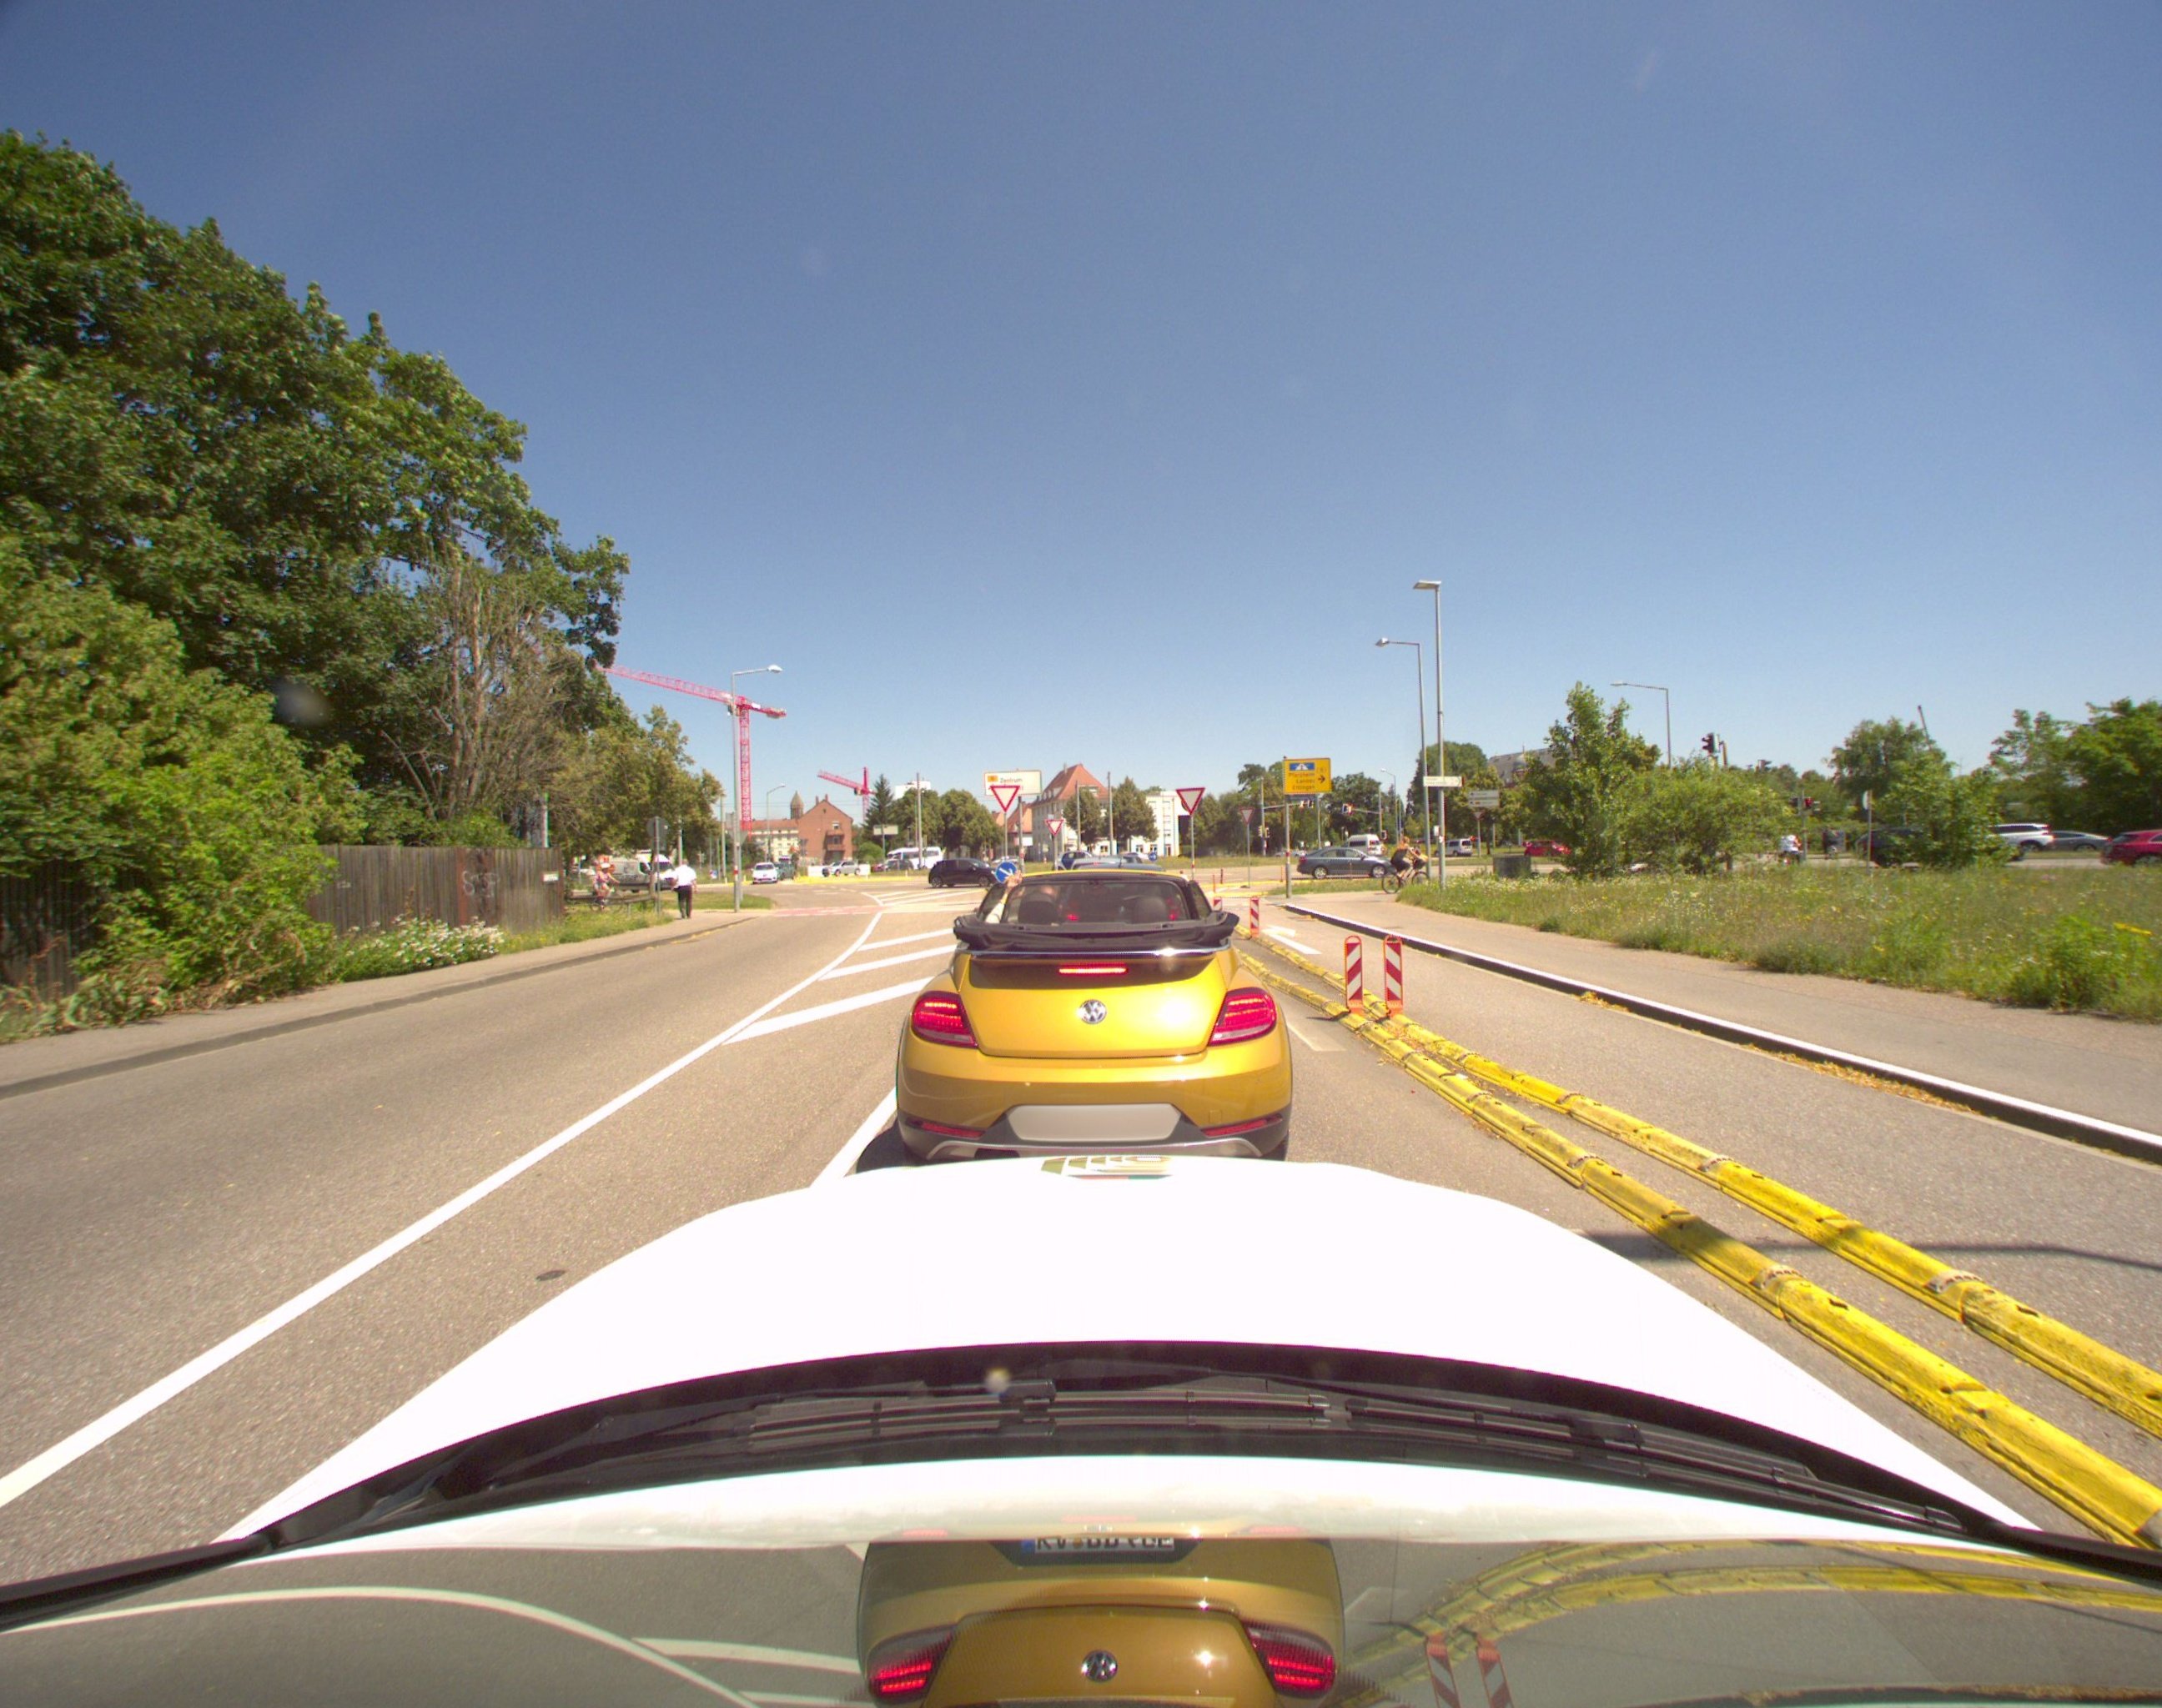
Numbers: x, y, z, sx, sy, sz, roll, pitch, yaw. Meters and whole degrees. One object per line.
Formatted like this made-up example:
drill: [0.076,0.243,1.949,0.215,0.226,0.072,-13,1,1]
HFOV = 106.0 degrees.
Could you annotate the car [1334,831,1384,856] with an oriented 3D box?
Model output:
car: [28.794,-1.059,84.448,1.995,2.397,5.290,0,-1,-21]

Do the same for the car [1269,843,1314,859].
car: [26.476,-0.351,102.454,5.263,1.962,2.005,-1,-1,23]

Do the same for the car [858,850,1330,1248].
car: [0.111,0.750,5.185,1.758,1.481,4.259,0,-1,2]

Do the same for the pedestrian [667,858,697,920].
pedestrian: [-11.899,1.026,24.284,0.640,1.786,0.958,0,-1,-36]

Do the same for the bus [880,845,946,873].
bus: [-19.820,0.608,96.189,7.306,3.172,2.237,0,-1,-35]

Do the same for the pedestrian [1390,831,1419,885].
pedestrian: [10.096,0.127,25.450,0.728,1.691,0.577,-1,-1,11]

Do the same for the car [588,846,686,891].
car: [-29.255,0.953,53.654,6.799,2.828,2.011,-1,-1,25]

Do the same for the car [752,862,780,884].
car: [-23.699,1.398,61.216,1.783,1.527,3.843,-2,0,-23]

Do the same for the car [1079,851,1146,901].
car: [1.049,0.681,27.727,2.057,1.481,4.545,-2,0,2]

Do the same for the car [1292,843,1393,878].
car: [12.149,0.300,38.078,4.302,1.552,1.733,0,-1,10]

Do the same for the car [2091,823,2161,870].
car: [36.663,-0.264,26.615,4.364,1.527,2.012,-1,-1,44]

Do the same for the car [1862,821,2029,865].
car: [34.543,-0.420,32.740,4.362,1.595,2.013,-2,0,40]

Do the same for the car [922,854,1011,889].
car: [-5.727,0.874,40.675,3.956,1.551,1.736,-2,2,17]

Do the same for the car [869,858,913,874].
car: [-21.281,1.377,91.279,4.456,1.736,1.831,0,-1,-29]

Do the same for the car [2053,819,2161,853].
car: [51.759,-0.851,40.367,4.389,1.592,1.860,-1,-1,43]

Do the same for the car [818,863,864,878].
car: [-23.299,1.565,79.228,1.711,1.402,4.297,-1,-1,29]

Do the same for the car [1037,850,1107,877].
car: [-0.518,0.559,48.879,3.964,1.552,1.732,0,-1,8]

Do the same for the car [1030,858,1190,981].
car: [0.408,0.787,11.784,1.844,1.366,4.260,-2,0,2]

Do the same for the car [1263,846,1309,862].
car: [25.809,0.020,102.683,5.261,1.962,2.006,-1,-1,42]

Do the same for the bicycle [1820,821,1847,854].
bicycle: [38.008,-0.804,41.128,0.972,1.597,2.900,-1,-1,43]

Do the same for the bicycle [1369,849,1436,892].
bicycle: [10.038,0.510,25.458,1.830,1.231,0.615,-3,-1,12]

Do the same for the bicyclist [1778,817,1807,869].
bicyclist: [25.764,-0.389,29.484,0.573,1.841,0.603,0,-1,-29]

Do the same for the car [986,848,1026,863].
car: [-9.070,0.177,98.812,4.452,1.736,1.833,0,-1,-25]

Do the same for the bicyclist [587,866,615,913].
bicyclist: [-18.457,1.351,31.334,0.664,1.753,0.595,-3,-1,20]

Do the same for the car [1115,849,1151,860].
car: [6.441,0.065,100.219,4.292,1.371,1.756,0,-1,9]

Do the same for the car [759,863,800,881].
car: [-25.140,1.487,68.071,1.740,1.371,4.332,0,-1,1]

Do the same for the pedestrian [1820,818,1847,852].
pedestrian: [37.909,-0.933,41.019,0.959,1.660,0.892,-1,-1,44]

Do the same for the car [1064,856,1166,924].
car: [0.764,0.751,18.686,2.057,1.382,4.259,0,-1,2]

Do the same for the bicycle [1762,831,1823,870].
bicycle: [25.847,-0.129,29.569,2.902,1.353,0.635,0,-1,-27]

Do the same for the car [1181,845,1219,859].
car: [15.050,-0.255,102.951,4.275,1.614,1.893,-1,-1,31]

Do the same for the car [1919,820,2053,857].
car: [45.897,-0.736,41.472,4.389,1.736,1.860,-1,-1,43]

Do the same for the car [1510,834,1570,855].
car: [37.457,-0.747,66.599,1.896,1.654,4.328,0,-1,-12]

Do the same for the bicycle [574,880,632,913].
bicycle: [-18.370,1.630,31.311,2.075,1.221,0.636,-2,0,17]

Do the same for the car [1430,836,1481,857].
car: [38.557,-0.696,84.020,1.990,2.070,5.303,0,-1,-13]
